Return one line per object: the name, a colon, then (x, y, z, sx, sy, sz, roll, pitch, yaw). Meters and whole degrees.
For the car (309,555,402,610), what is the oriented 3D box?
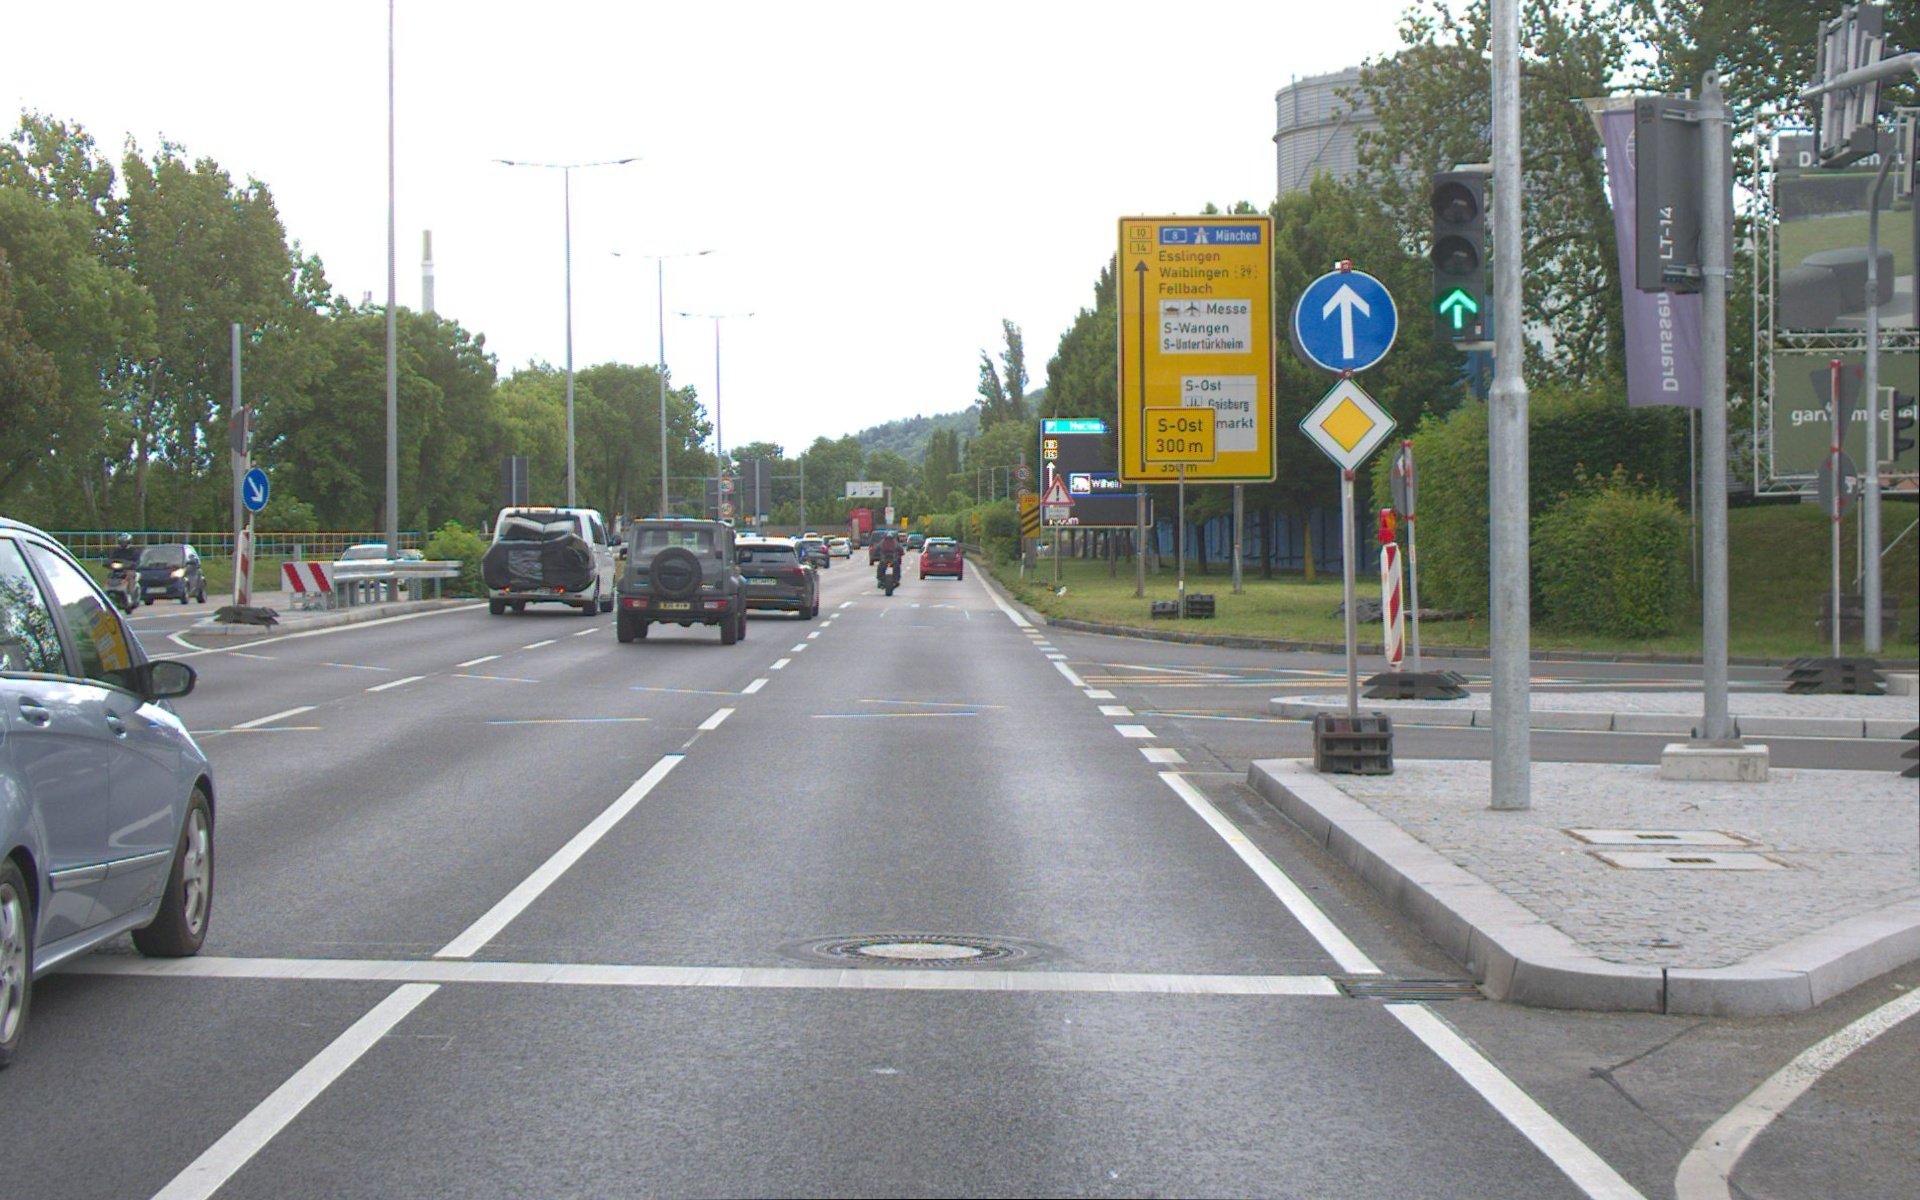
car: (-18.397, -0.559, 104.777, 1.993, 1.488, 4.805, 2, 2, -1)

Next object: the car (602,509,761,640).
car: (-3.826, -0.392, 47.810, 1.907, 1.678, 4.001, 2, 2, -1)

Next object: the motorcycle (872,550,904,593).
motorcycle: (-1.833, -0.741, 88.148, 0.706, 1.036, 2.027, 2, 2, 1)

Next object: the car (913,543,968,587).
car: (-0.767, -1.349, 132.182, 1.993, 1.546, 4.001, 2, 2, -2)

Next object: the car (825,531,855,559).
car: (-8.864, -4.081, 254.019, 1.993, 2.006, 4.000, 2, 2, 0)

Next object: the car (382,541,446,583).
car: (-22.816, -1.591, 143.745, 1.993, 1.634, 4.000, 2, 2, 0)

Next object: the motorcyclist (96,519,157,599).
motorcyclist: (-16.620, -0.810, 68.584, 0.913, 1.516, 0.980, 2, -2, 0)

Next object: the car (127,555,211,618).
car: (-19.916, -0.347, 86.623, 1.473, 1.458, 2.737, 2, 2, 0)

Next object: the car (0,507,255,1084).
car: (-3.450, 0.476, 10.713, 1.710, 1.524, 4.001, 2, 2, -1)

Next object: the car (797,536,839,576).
car: (-7.519, -2.358, 182.228, 1.993, 2.006, 4.000, 2, 2, 0)

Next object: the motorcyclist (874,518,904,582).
motorcyclist: (-1.818, -1.294, 88.130, 0.685, 1.604, 0.845, 2, 1, 1)

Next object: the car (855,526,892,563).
car: (-4.984, -3.210, 199.096, 1.993, 2.006, 4.000, 2, 2, 0)

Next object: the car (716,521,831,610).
car: (-3.300, -0.636, 61.505, 1.840, 1.459, 4.000, 2, 2, -1)

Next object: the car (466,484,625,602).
car: (-7.225, -1.031, 60.418, 2.214, 1.919, 5.003, 2, 2, -1)

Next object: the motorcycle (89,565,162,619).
motorcycle: (-16.640, -0.148, 68.616, 0.913, 0.986, 2.163, 2, -1, 0)
